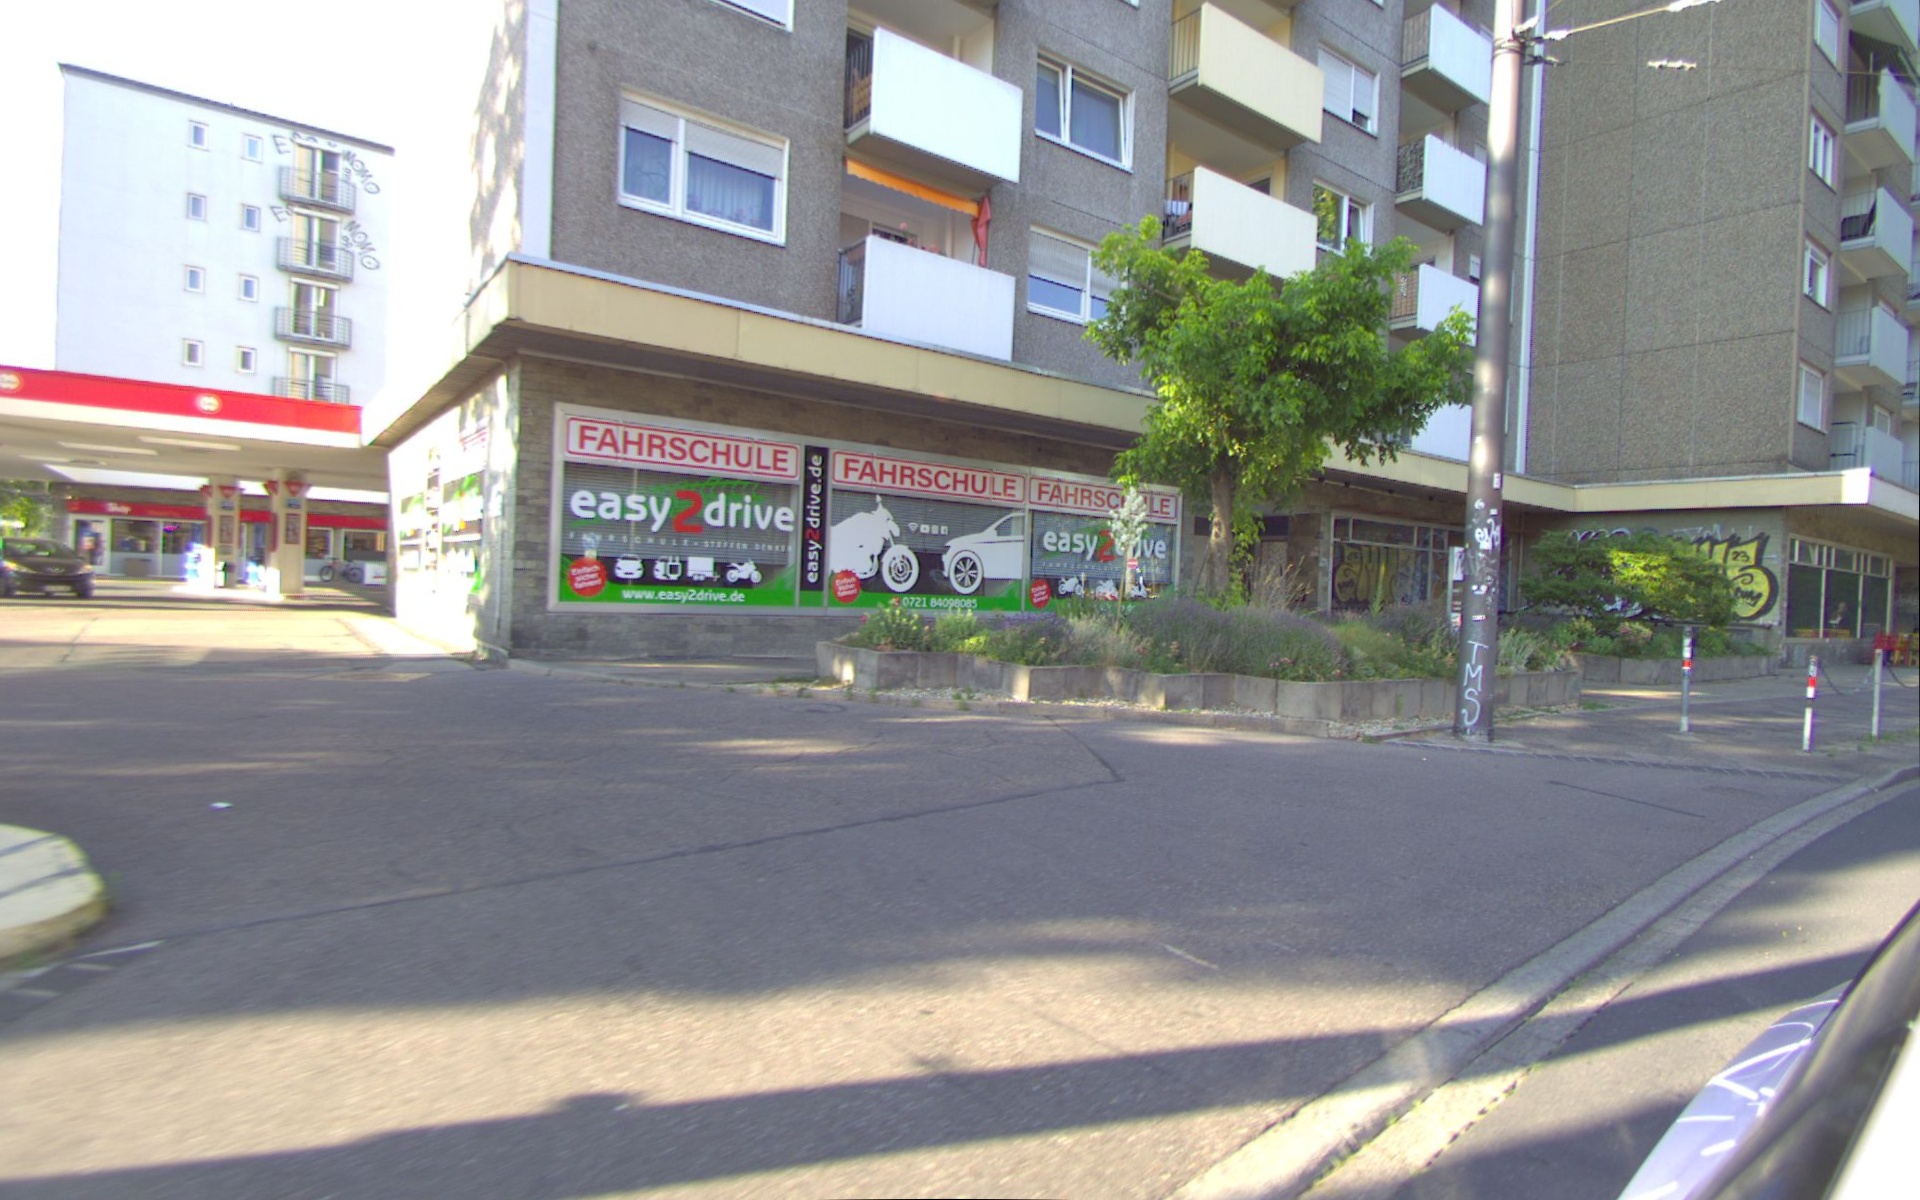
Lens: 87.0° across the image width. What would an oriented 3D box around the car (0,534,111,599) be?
[{"bbox_3d":[-22.651,-0.853,24.876,3.981,1.370,1.973,5,3,38],"label":"car"}]
